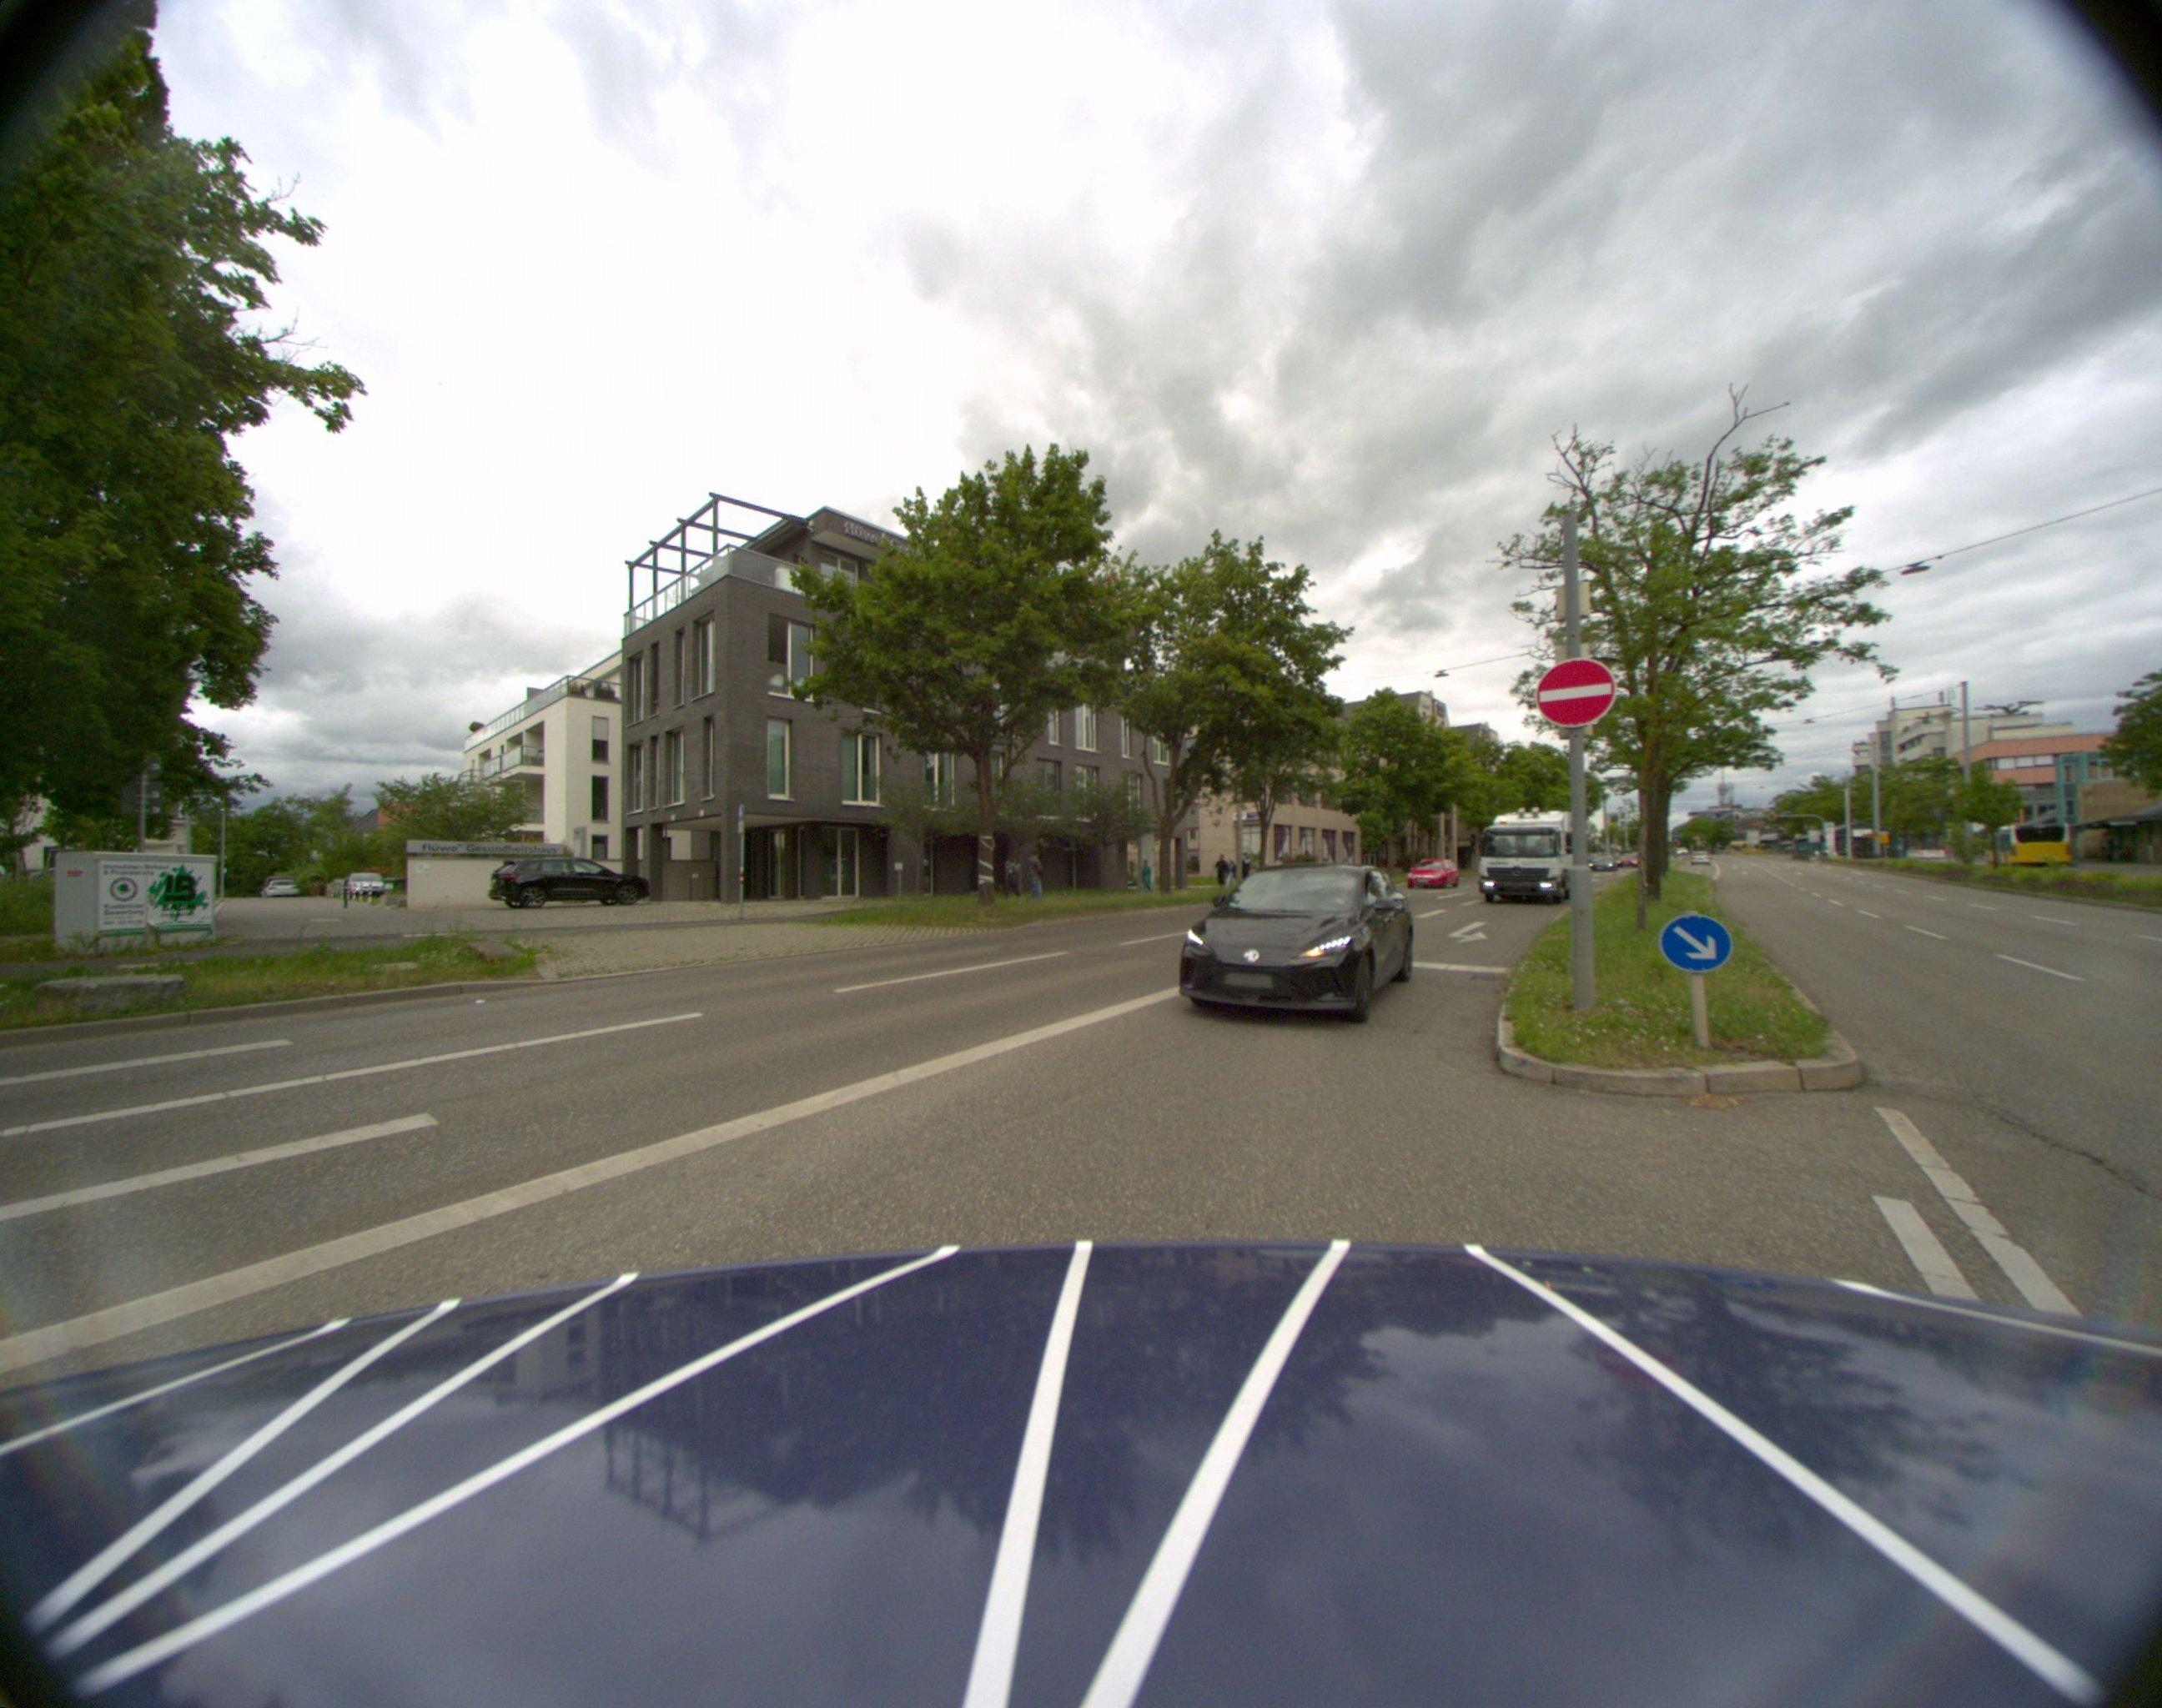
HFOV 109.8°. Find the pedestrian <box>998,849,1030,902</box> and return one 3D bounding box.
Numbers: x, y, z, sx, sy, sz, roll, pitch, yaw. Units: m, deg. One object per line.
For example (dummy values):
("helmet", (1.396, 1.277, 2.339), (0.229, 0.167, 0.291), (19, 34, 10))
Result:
("pedestrian", (-2.237, 0.711, 25.447), (0.692, 1.735, 0.699), (-3, 0, 33))

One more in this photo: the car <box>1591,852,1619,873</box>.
("car", (48.760, 0.781, 70.790), (1.995, 1.685, 4.612), (-3, 0, 34))

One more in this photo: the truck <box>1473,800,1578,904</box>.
("truck", (15.648, -0.089, 26.535), (2.430, 3.176, 6.480), (1, 1, 37))

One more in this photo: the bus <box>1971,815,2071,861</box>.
("bus", (69.672, -1.216, 56.563), (3.288, 2.991, 10.251), (-3, 0, 44))

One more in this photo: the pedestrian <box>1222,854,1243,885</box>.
("pedestrian", (7.152, 0.726, 35.810), (0.692, 1.425, 0.599), (-3, 0, 38))

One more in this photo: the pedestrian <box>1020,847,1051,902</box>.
("pedestrian", (-1.502, 0.673, 25.080), (0.692, 1.735, 0.650), (-3, 0, 33))

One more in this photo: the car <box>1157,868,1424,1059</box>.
("car", (2.597, 0.973, 8.659), (1.796, 1.475, 4.027), (2, 2, 32))

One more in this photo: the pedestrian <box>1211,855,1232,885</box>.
("pedestrian", (6.741, 0.762, 36.466), (0.692, 1.382, 0.599), (-3, 0, 38))

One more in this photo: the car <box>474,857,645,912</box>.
("car", (-16.638, 0.970, 24.389), (1.995, 1.591, 4.134), (-4, -3, 40))

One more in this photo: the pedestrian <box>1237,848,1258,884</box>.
("pedestrian", (7.756, 0.548, 35.338), (0.692, 1.610, 0.599), (-3, 0, 38))

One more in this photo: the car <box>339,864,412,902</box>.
("car", (-33.683, 1.389, 36.251), (3.818, 1.630, 1.881), (-3, 0, 38))

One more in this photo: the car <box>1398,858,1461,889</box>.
("car", (17.607, 0.933, 38.289), (1.994, 1.415, 4.365), (-1, 0, 36))

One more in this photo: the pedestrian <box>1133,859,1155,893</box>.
("pedestrian", (2.645, 0.924, 31.852), (0.534, 1.349, 0.660), (-3, 0, 38))

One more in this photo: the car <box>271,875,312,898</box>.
("car", (-59.490, 2.431, 57.287), (1.961, 1.543, 3.954), (-3, 0, -44))

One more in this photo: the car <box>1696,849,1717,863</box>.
("car", (75.028, 0.251, 91.096), (1.745, 1.520, 3.757), (-3, 0, 42))

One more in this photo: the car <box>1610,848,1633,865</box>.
("car", (60.437, 0.239, 84.930), (1.888, 1.734, 3.678), (-3, 0, 38))
